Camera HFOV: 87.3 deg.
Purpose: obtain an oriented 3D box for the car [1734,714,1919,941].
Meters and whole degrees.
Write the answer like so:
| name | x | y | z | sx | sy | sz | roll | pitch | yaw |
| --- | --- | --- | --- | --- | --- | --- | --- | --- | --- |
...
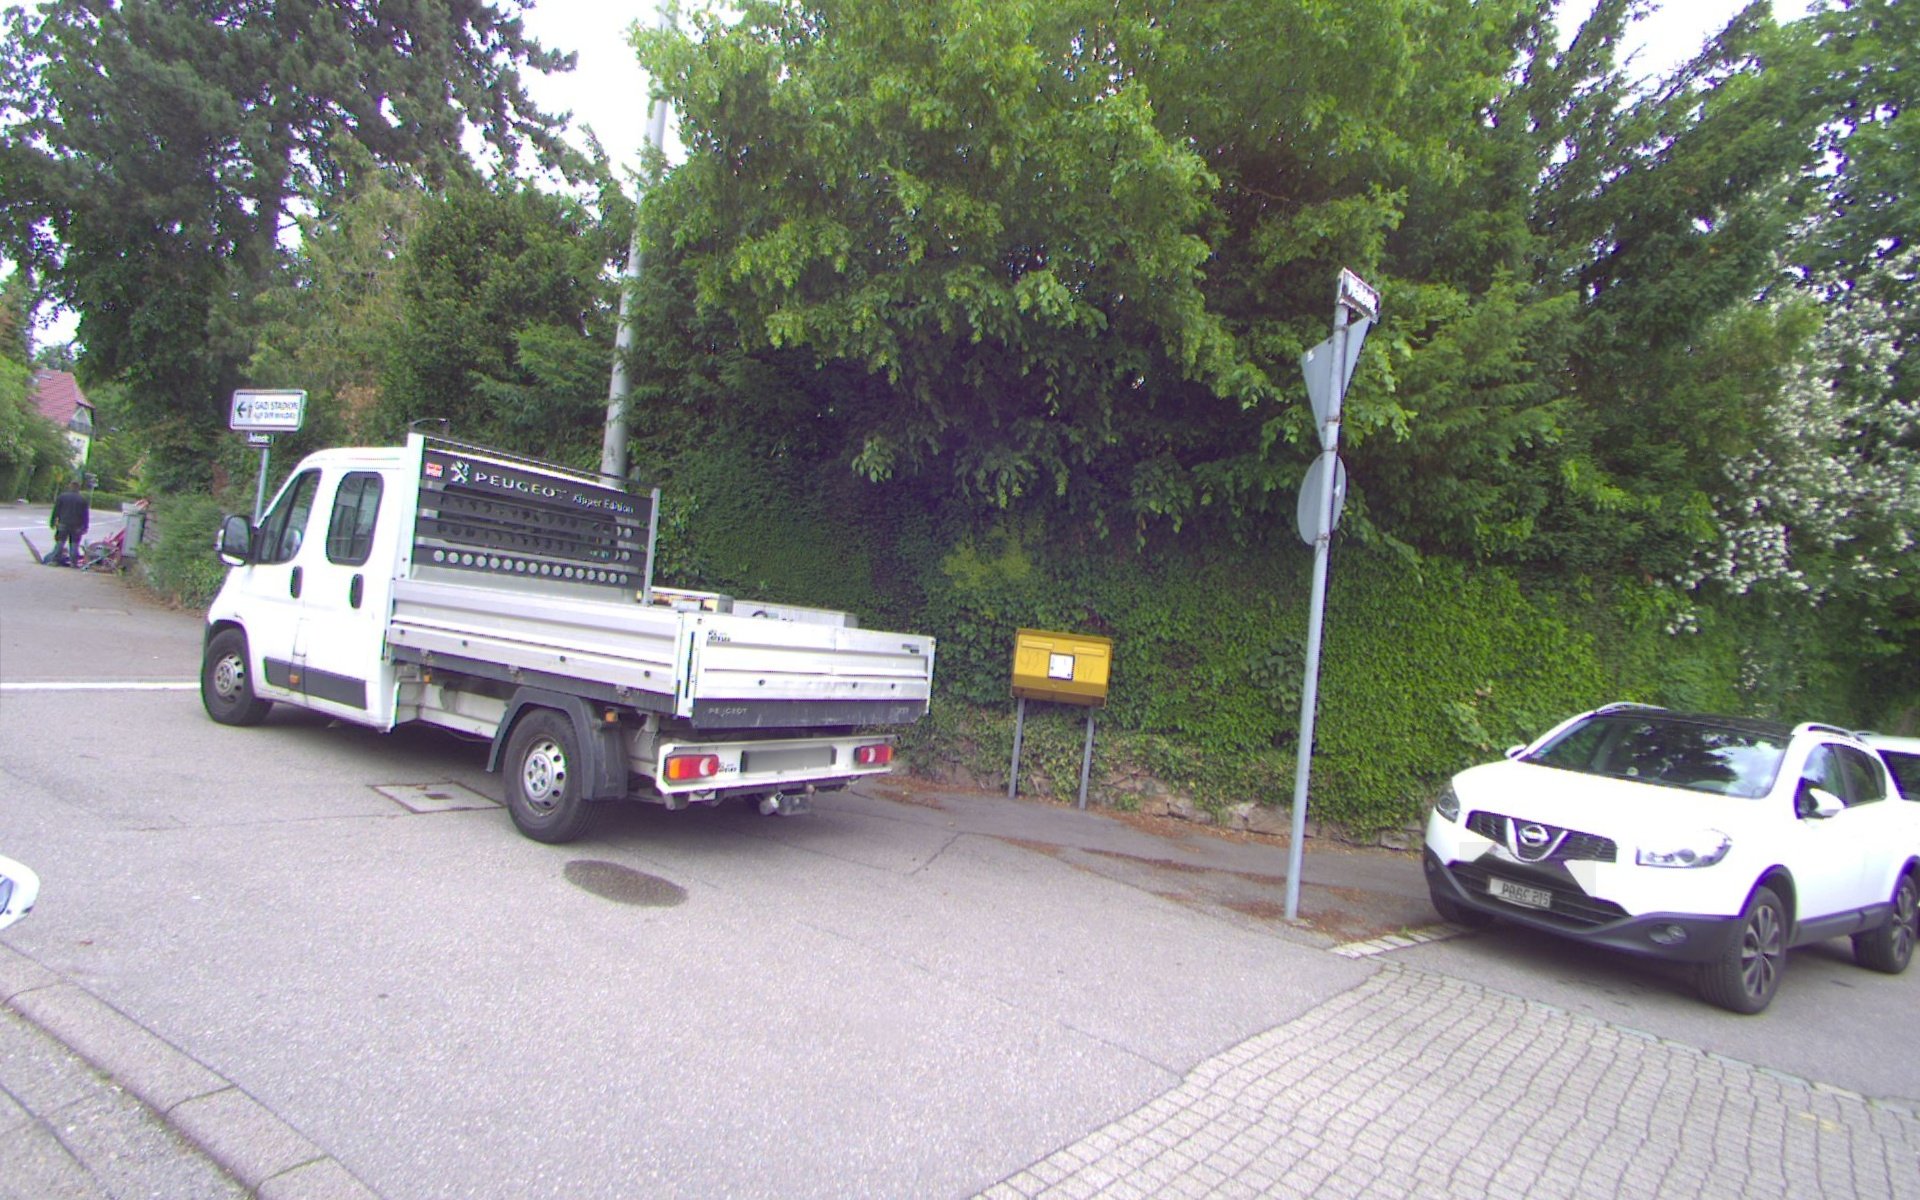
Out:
| name | x | y | z | sx | sy | sz | roll | pitch | yaw |
| --- | --- | --- | --- | --- | --- | --- | --- | --- | --- |
| car | 9.045 | 2.117 | 9.469 | 4.041 | 1.641 | 1.781 | 9 | -3 | -38 |

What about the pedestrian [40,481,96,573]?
| name | x | y | z | sx | sy | sz | roll | pitch | yaw |
| --- | --- | --- | --- | --- | --- | --- | --- | --- | --- |
| pedestrian | -19.597 | -1.598 | 22.101 | 0.549 | 1.929 | 0.597 | 7 | -1 | 32 |

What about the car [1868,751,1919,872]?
| name | x | y | z | sx | sy | sz | roll | pitch | yaw |
| --- | --- | --- | --- | --- | --- | --- | --- | --- | --- |
| car | 13.895 | 2.942 | 13.538 | 4.040 | 1.440 | 1.781 | 8 | -2 | -38 |

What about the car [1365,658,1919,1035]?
| name | x | y | z | sx | sy | sz | roll | pitch | yaw |
| --- | --- | --- | --- | --- | --- | --- | --- | --- | --- |
| car | 4.766 | 1.471 | 6.656 | 4.098 | 1.641 | 1.783 | 9 | -2 | -34 |

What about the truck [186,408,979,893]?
| name | x | y | z | sx | sy | sz | roll | pitch | yaw |
| --- | --- | --- | --- | --- | --- | --- | --- | --- | --- |
| truck | -2.934 | 0.086 | 7.161 | 5.631 | 2.270 | 2.211 | 6 | -2 | 34 |
